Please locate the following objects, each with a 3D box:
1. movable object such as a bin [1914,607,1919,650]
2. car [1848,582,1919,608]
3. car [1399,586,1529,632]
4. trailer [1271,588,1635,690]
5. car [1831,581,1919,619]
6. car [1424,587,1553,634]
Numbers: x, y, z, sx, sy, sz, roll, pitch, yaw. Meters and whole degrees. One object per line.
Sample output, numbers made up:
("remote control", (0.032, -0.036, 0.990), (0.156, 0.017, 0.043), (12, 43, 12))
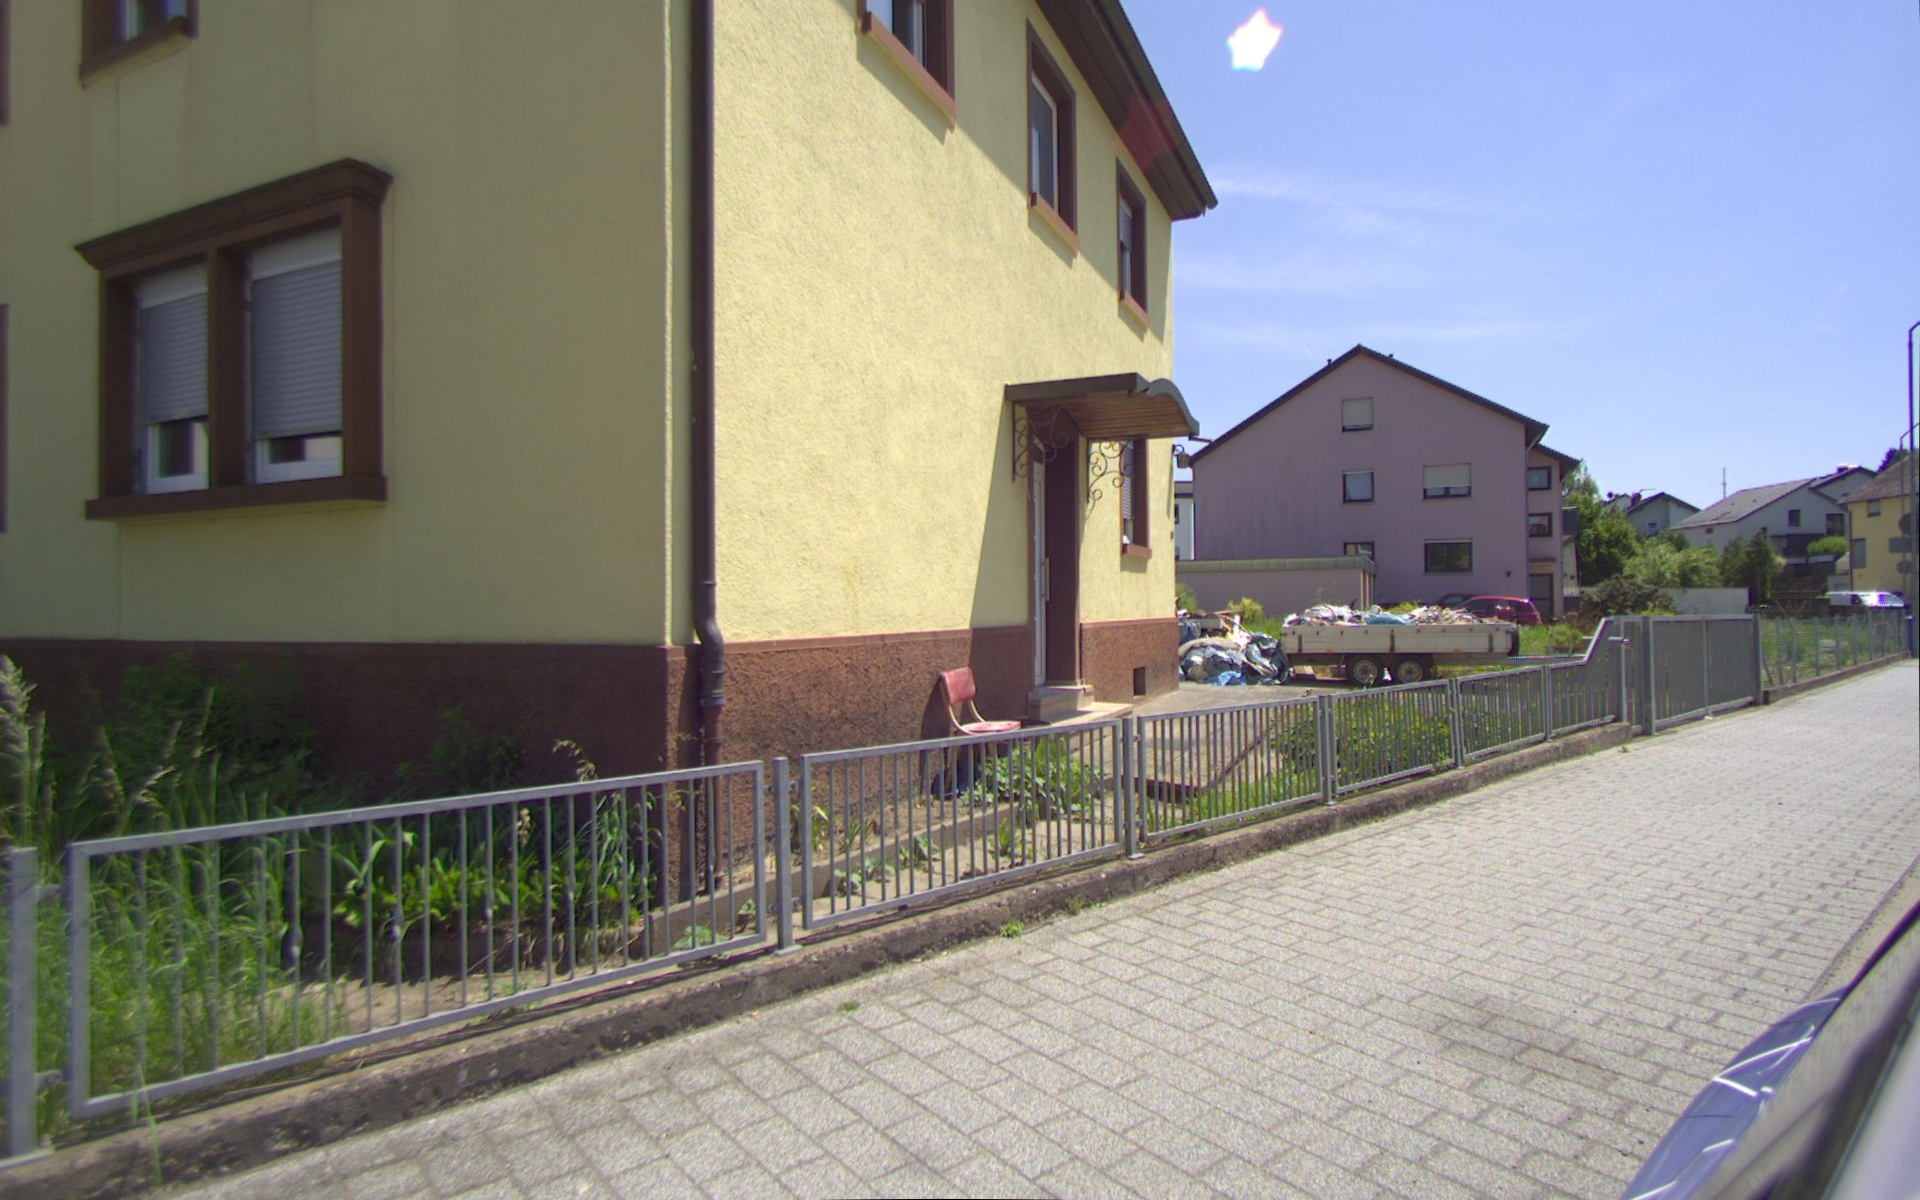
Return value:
("movable object such as a bin", (24.892, 0.726, 25.911), (0.563, 1.071, 0.643), (-1, 0, 34))
("car", (60.120, -0.337, 65.569), (1.706, 1.572, 4.181), (-2, 0, 6))
("car", (18.345, 0.348, 37.056), (4.079, 1.567, 1.836), (-2, -1, 24))
("trailer", (8.256, 0.673, 17.540), (5.300, 1.566, 2.123), (-2, -1, 22))
("car", (49.530, 0.009, 54.736), (1.844, 1.933, 5.005), (-1, -1, 19))
("car", (17.920, 0.322, 34.480), (3.801, 1.505, 1.745), (0, 0, 28))
